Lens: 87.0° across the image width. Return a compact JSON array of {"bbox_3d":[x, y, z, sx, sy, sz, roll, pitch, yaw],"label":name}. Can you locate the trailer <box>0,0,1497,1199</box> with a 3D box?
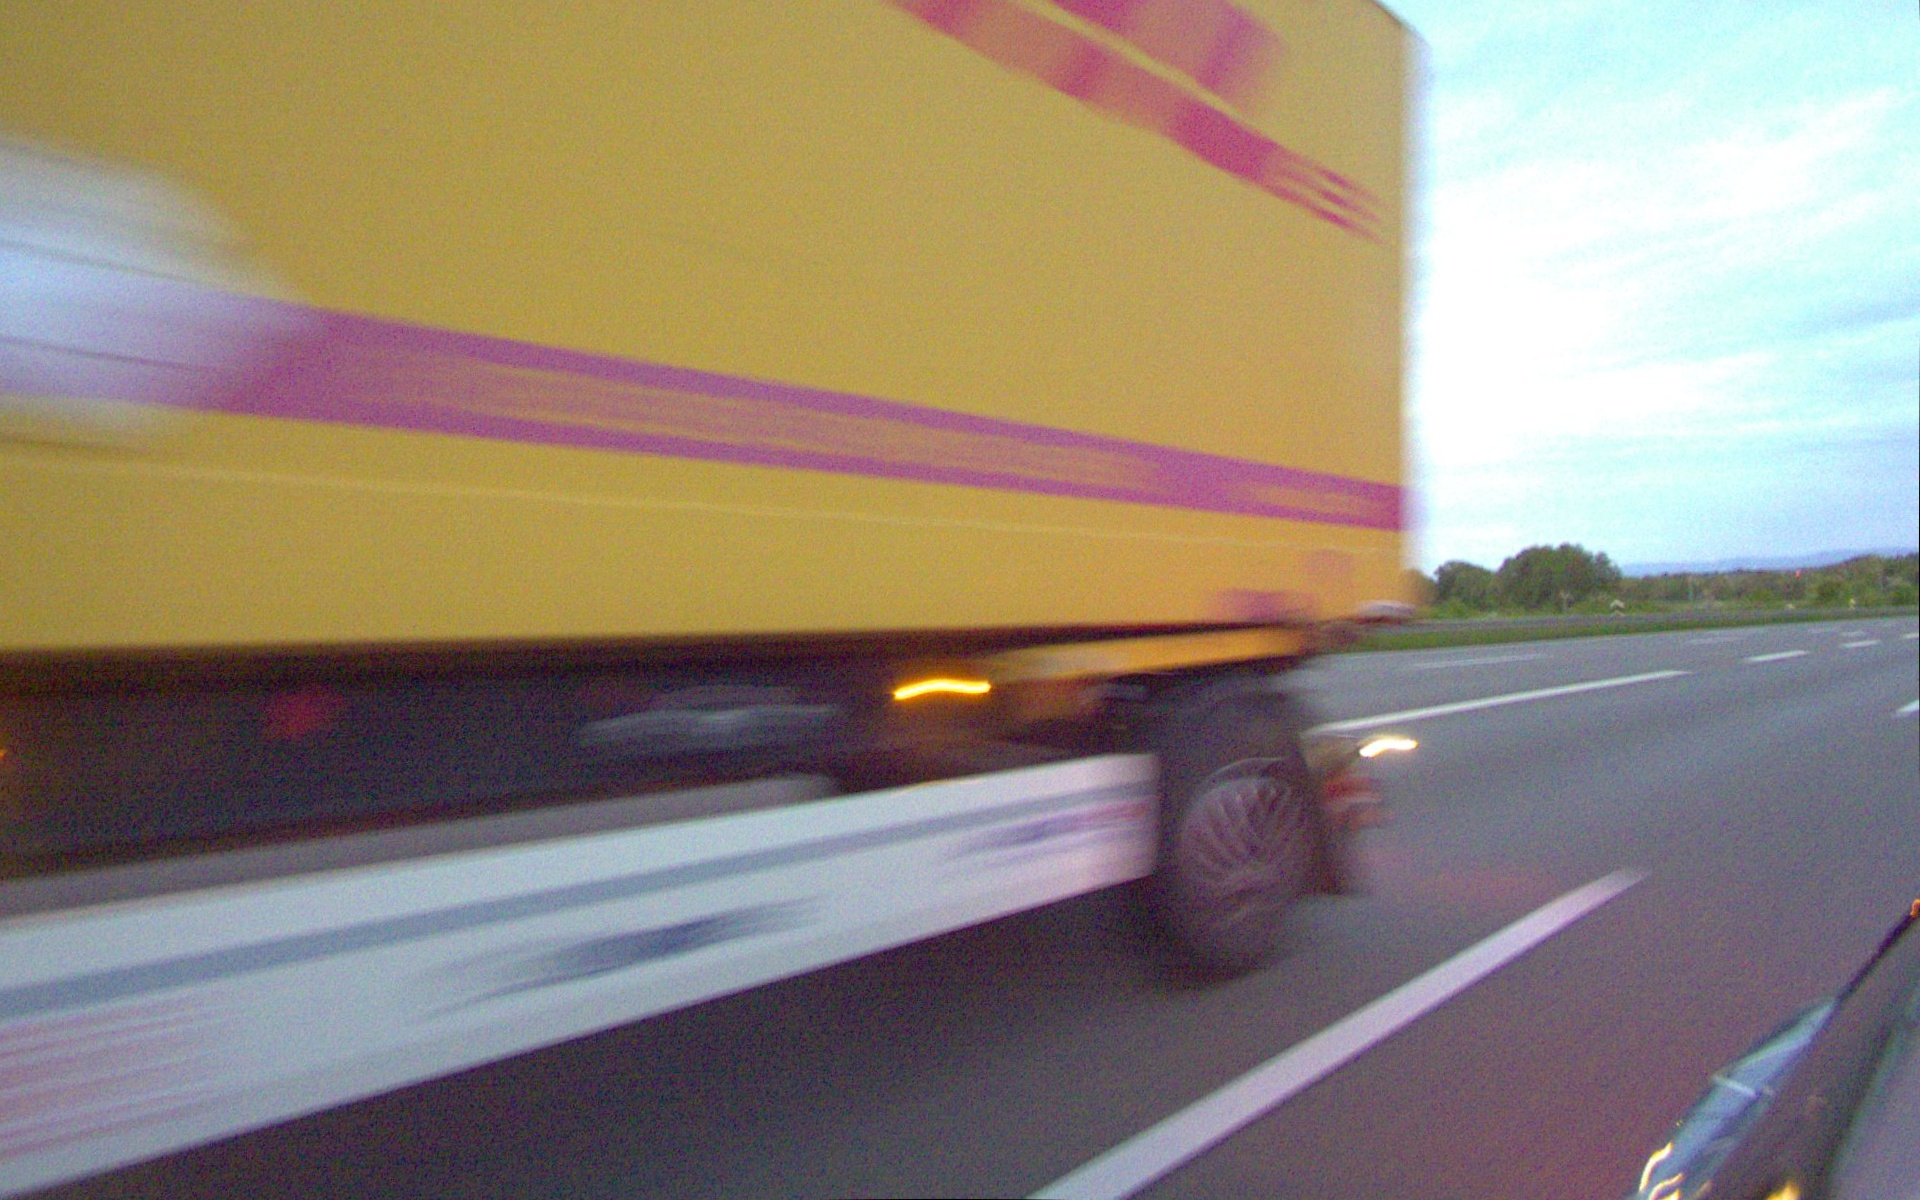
[{"bbox_3d":[-1.559,-0.640,3.087,8.676,4.123,2.726,0,0,-41],"label":"trailer"}]
